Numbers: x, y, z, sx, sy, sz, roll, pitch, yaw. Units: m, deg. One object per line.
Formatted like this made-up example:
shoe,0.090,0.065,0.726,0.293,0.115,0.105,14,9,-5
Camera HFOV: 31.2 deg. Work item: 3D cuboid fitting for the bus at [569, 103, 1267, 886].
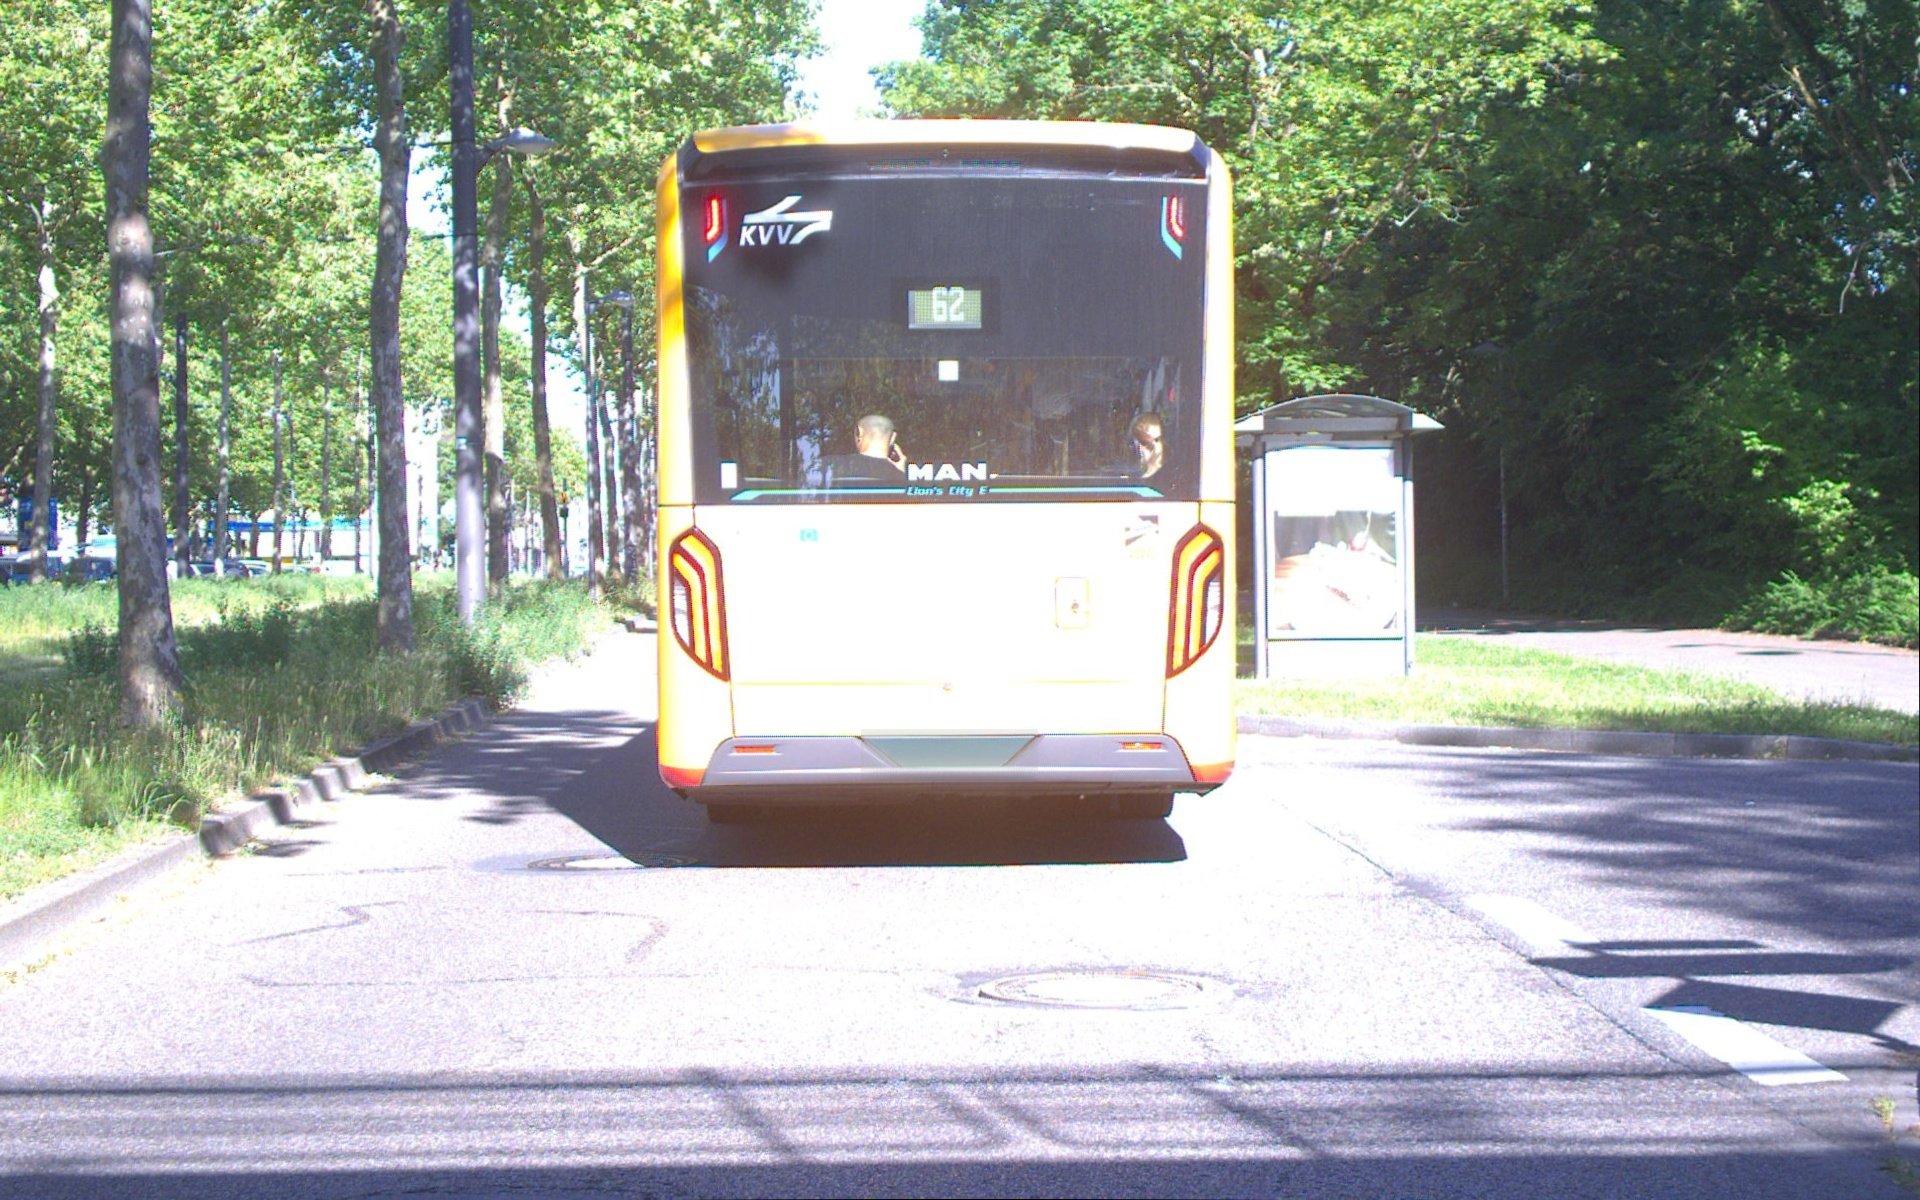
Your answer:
bus,-0.329,-0.545,20.527,2.899,3.255,12.219,-1,1,-1

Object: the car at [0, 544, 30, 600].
car,-26.969,-0.764,94.028,1.794,1.505,4.000,-1,1,3

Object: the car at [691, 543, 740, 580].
car,-11.814,-1.874,166.462,1.986,1.637,4.134,2,2,1
